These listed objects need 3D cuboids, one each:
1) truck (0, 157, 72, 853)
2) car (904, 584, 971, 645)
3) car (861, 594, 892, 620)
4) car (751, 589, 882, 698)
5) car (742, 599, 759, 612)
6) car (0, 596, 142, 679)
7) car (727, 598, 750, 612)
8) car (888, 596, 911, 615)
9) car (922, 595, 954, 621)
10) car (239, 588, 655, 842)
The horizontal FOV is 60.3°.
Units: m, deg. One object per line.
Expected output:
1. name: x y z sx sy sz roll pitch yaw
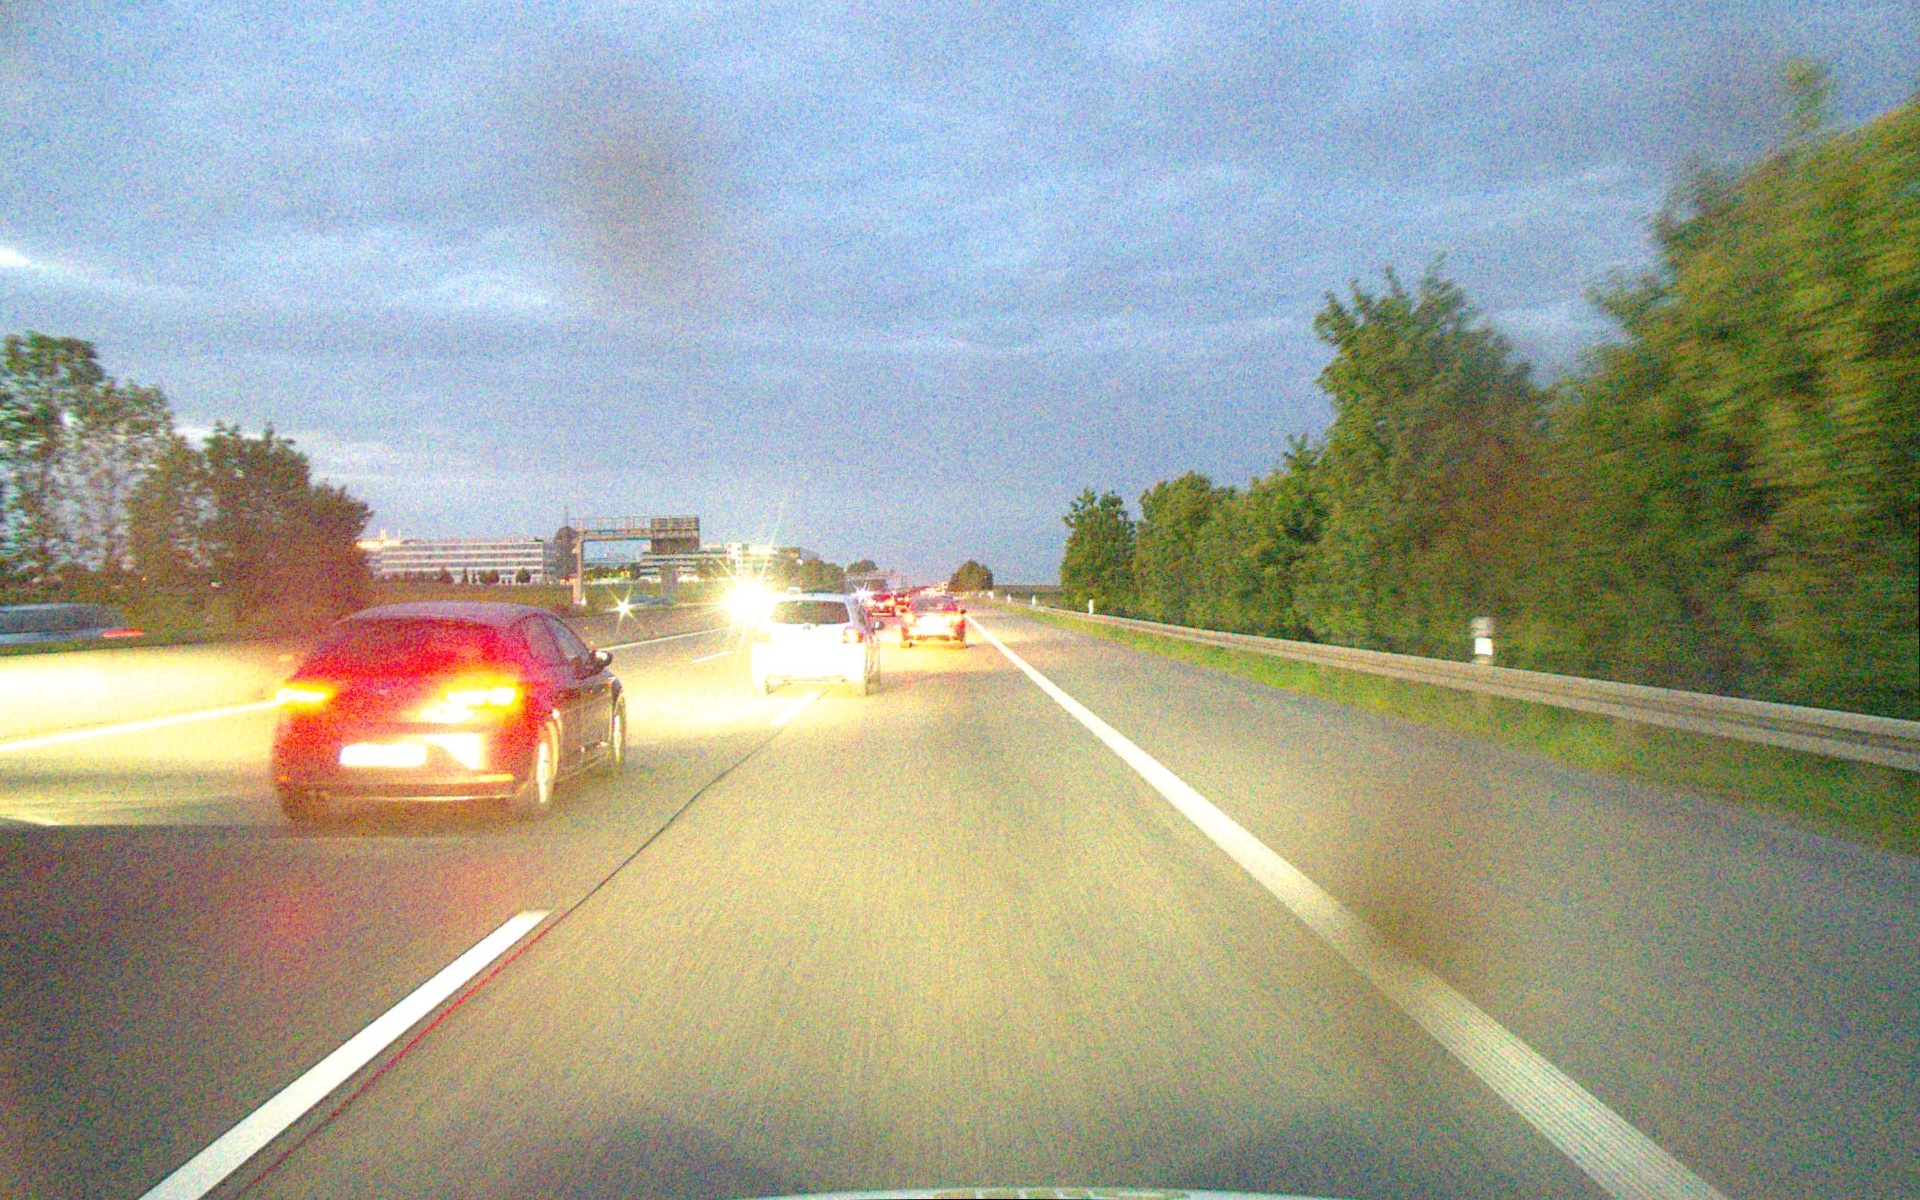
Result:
1. truck: -7.083 -0.581 7.630 2.721 4.164 6.102 0 -1 -1
2. car: -0.660 0.421 48.020 1.842 1.672 3.999 1 0 -1
3. car: -5.289 0.429 104.909 1.842 1.579 3.998 1 0 -2
4. car: -2.184 0.645 26.172 1.709 1.551 4.413 1 0 -1
5. car: -21.183 0.584 167.482 1.336 1.283 3.506 1 0 -1
6. car: -15.582 0.594 28.057 1.621 1.311 3.644 1 0 -1
7. car: -26.257 0.592 196.328 1.953 1.548 5.835 1 0 -1
8. car: -5.979 0.547 164.245 2.154 1.912 3.999 1 0 -1
9. car: -1.368 0.490 100.932 1.842 1.579 3.998 1 0 -2
10. car: -3.501 0.706 12.266 1.688 1.497 4.724 1 0 -1
